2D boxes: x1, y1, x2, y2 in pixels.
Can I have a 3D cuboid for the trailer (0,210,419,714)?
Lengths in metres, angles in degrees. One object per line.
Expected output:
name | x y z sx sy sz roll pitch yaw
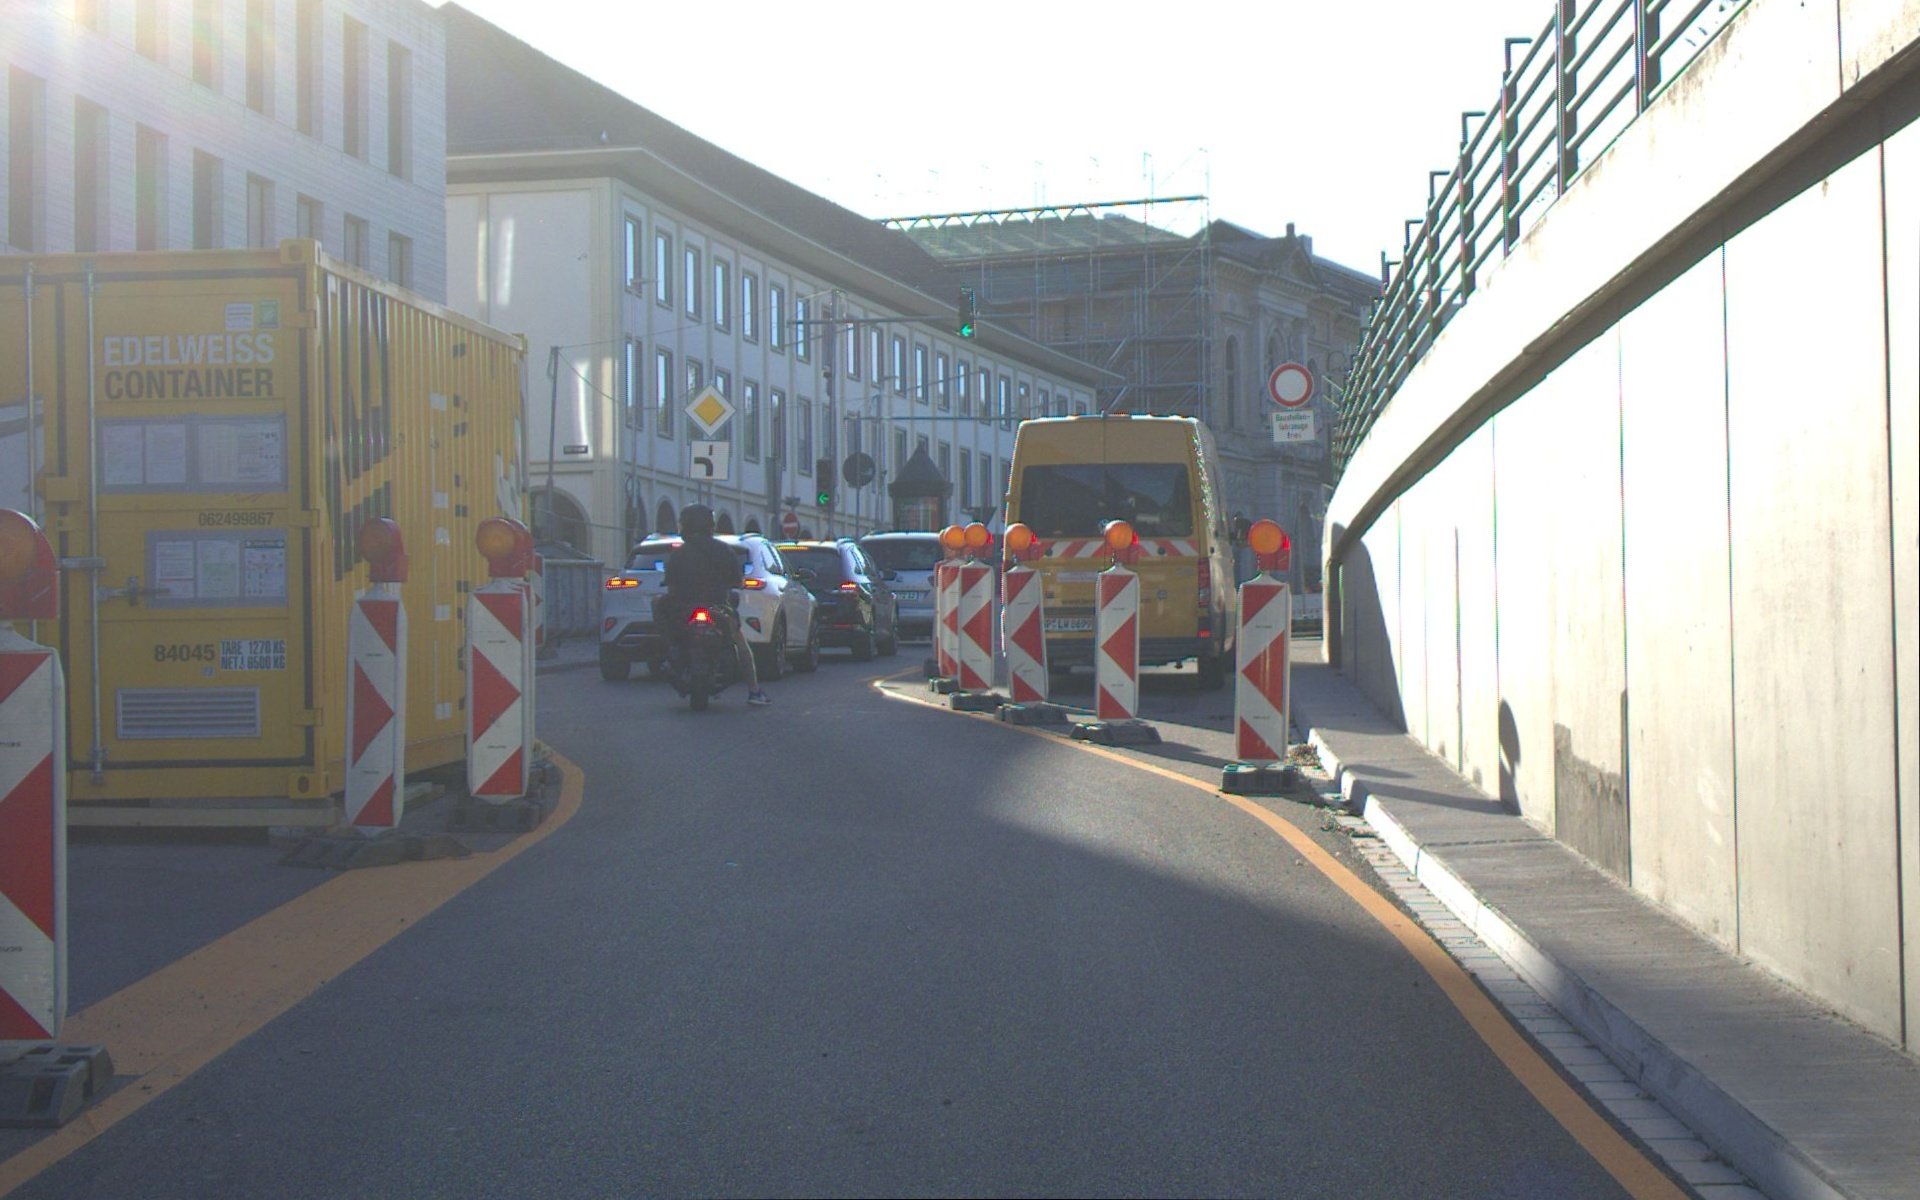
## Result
trailer | -7.168 -1.021 29.853 2.642 3.656 8.747 -4 0 5

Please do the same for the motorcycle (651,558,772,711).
motorcycle | -2.107 0.261 28.855 0.905 1.179 2.579 0 2 -6

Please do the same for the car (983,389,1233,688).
car | 1.579 -0.584 33.819 2.112 2.616 6.986 -1 1 5

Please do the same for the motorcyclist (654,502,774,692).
motorcyclist | -2.075 -0.039 28.846 0.954 1.554 1.239 0 2 -6

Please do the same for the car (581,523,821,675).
car | -2.617 -0.049 35.583 1.859 1.467 3.999 1 1 5

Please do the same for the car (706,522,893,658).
car | -1.904 -0.077 41.947 1.774 1.545 4.105 -1 -1 4

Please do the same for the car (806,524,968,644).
car | -1.044 -0.274 51.398 1.804 1.715 4.162 0 1 7
